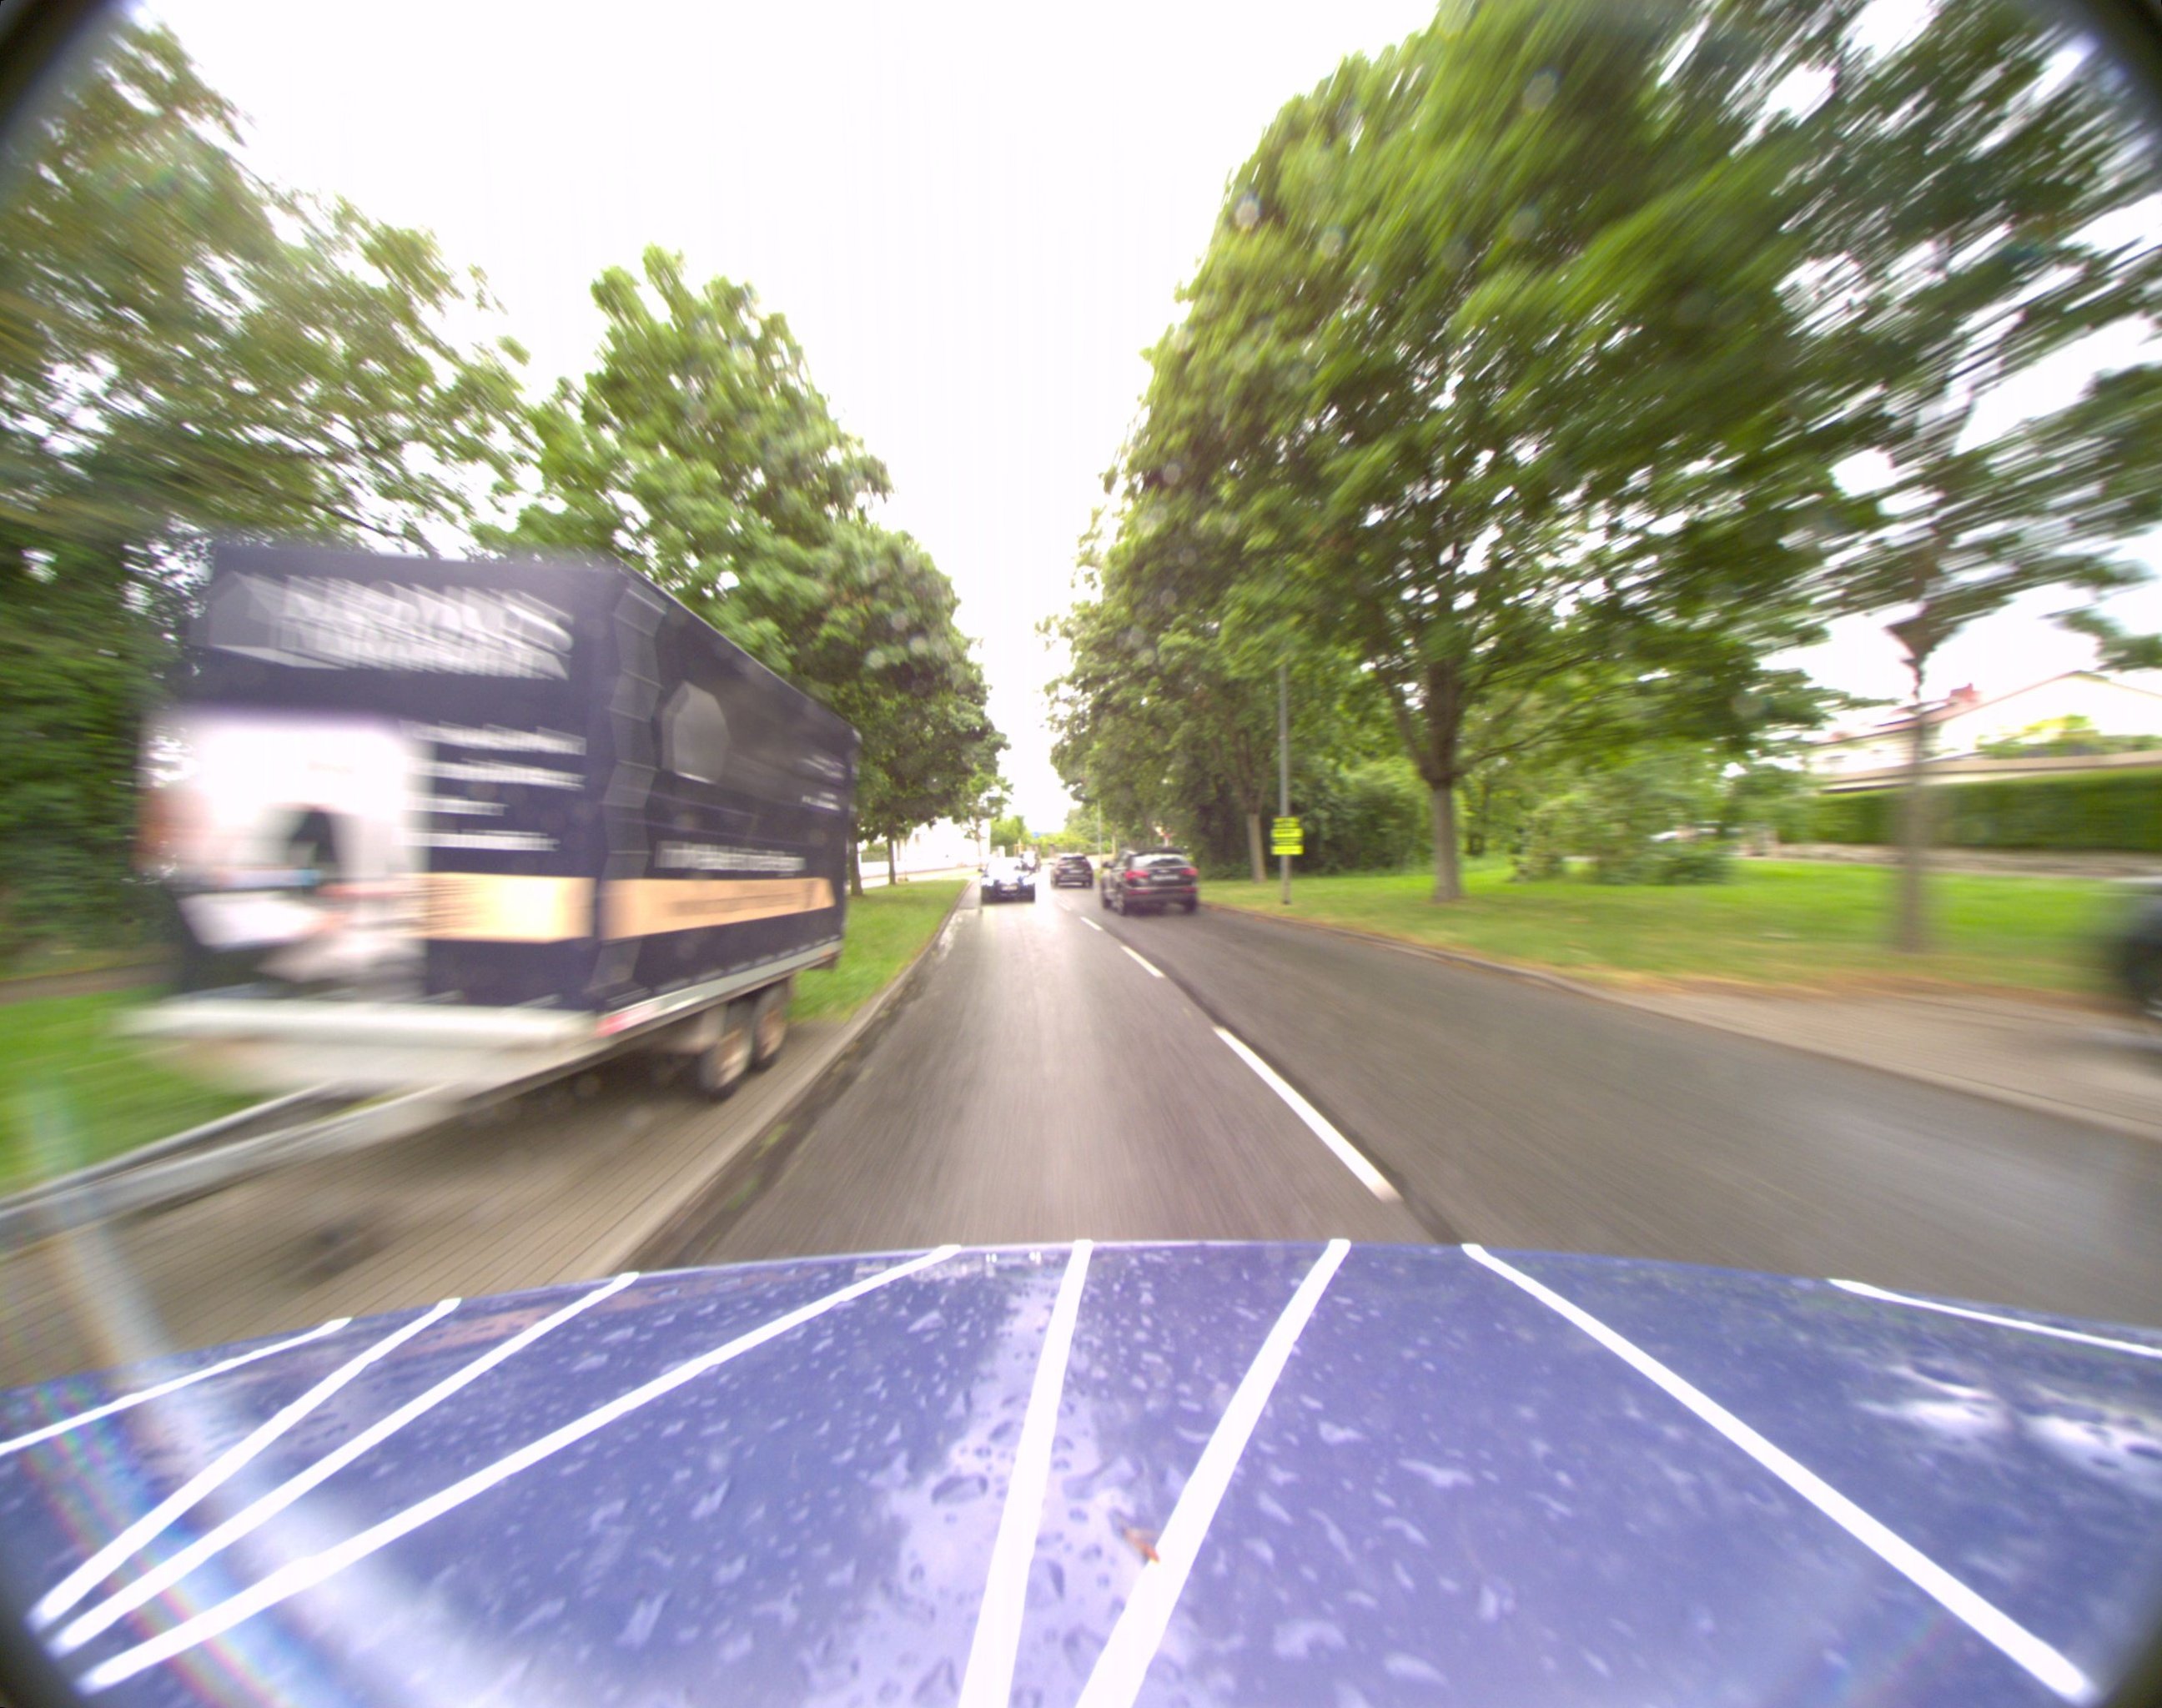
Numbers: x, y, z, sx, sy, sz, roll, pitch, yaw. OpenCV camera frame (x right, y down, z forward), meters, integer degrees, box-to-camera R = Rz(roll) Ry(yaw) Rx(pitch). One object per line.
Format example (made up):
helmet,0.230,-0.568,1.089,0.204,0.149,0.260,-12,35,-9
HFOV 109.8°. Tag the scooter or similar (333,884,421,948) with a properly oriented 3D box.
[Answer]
scooter or similar,-13.797,1.194,14.930,0.464,1.140,1.301,0,1,2

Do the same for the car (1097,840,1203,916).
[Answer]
car,1.641,0.558,19.690,1.857,1.682,4.402,-2,0,-6

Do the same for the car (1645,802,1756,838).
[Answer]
car,28.604,-1.571,35.200,3.592,1.368,1.799,-3,2,23

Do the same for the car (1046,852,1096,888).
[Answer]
car,-0.531,0.698,35.812,1.795,1.528,4.089,-2,0,-7

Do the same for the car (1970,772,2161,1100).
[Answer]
car,6.349,0.386,2.301,1.755,1.631,4.590,-4,1,-4

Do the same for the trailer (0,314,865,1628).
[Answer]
trailer,-3.018,0.215,4.386,1.999,2.792,5.606,3,0,-2

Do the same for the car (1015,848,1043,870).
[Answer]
car,-3.830,0.326,56.353,1.930,1.374,4.306,-4,1,-3

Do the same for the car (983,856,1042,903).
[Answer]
car,-2.355,0.828,26.909,1.816,1.459,3.973,-1,1,-1
